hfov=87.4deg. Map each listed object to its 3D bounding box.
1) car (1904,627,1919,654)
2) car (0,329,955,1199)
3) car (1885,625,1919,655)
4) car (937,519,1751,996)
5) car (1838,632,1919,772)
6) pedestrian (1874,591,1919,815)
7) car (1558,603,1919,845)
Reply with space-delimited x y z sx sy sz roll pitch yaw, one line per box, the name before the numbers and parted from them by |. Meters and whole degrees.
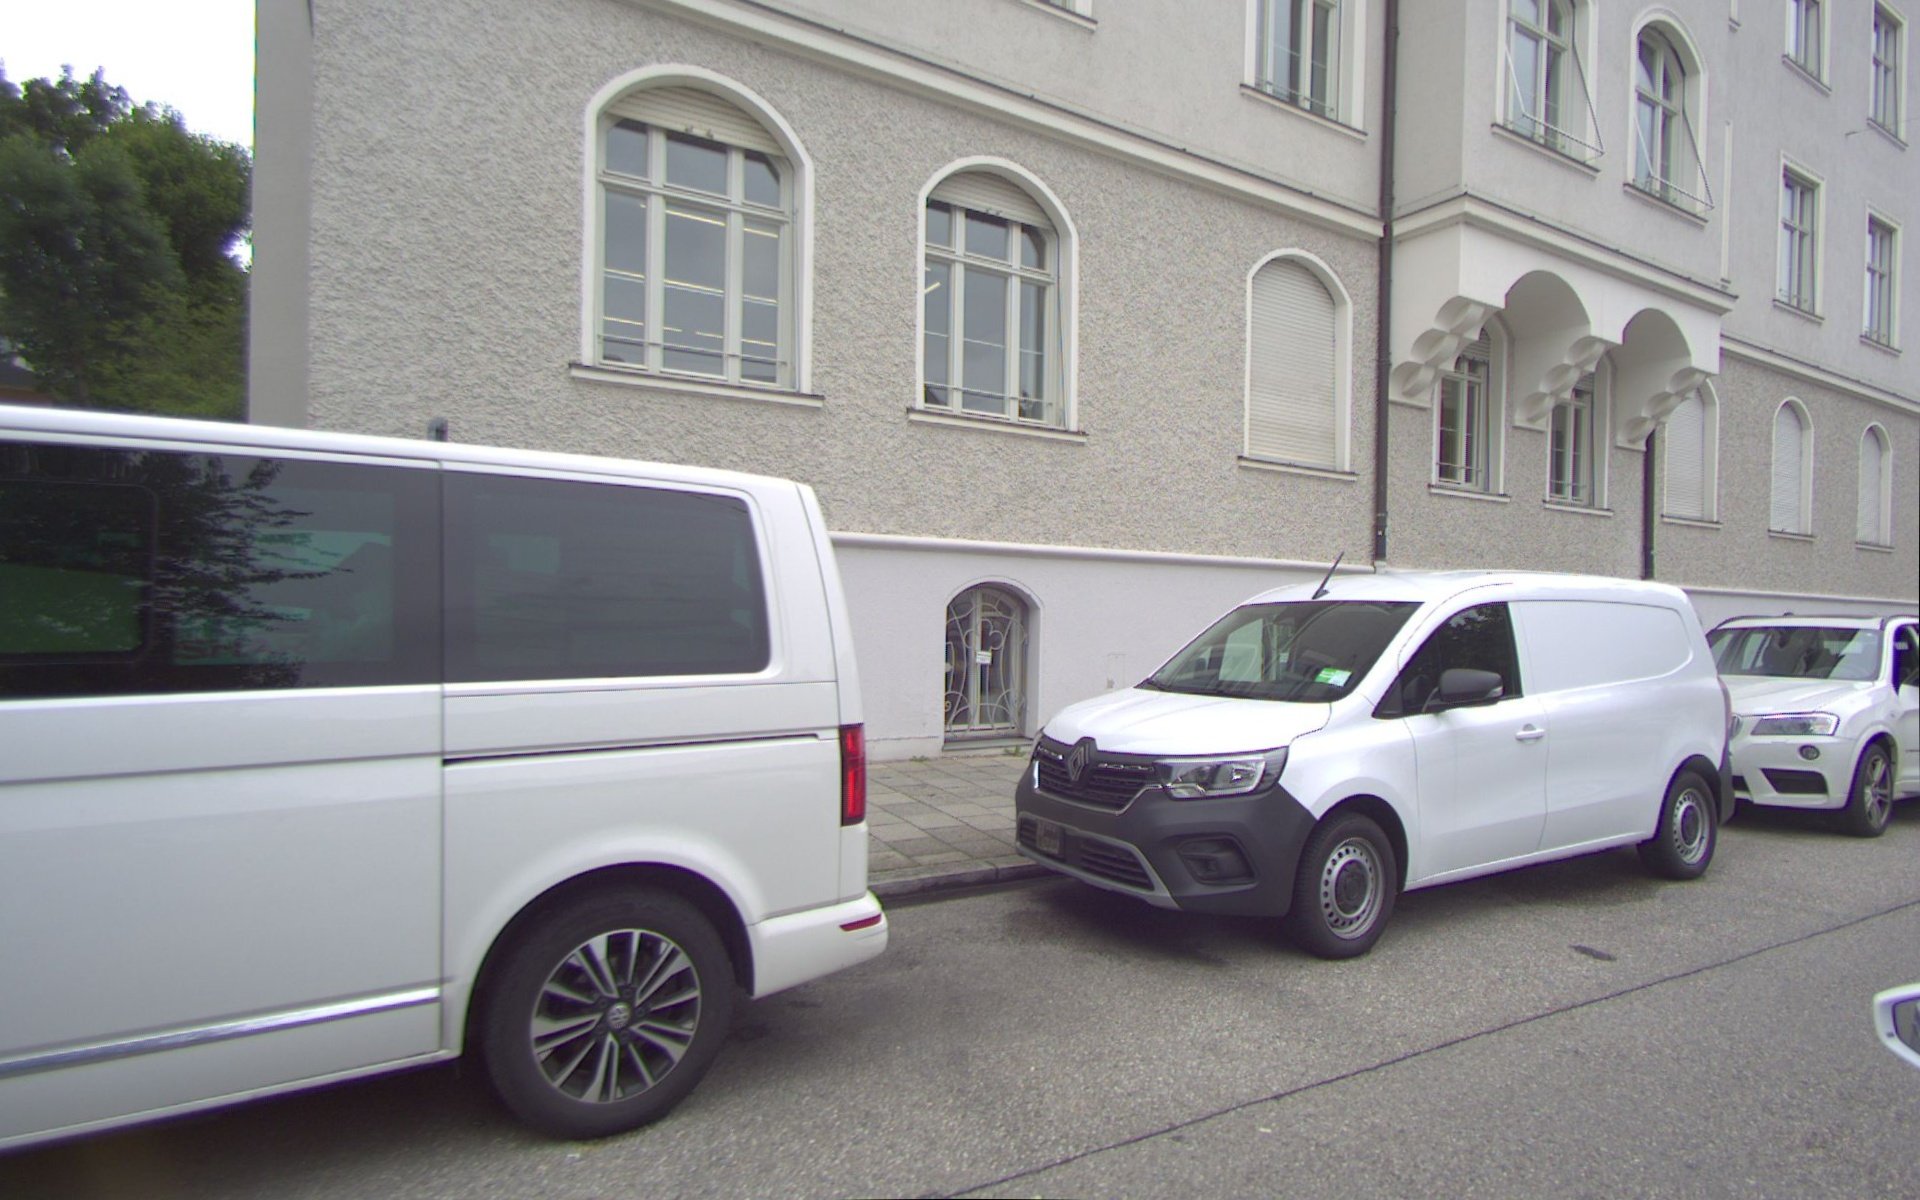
car | 61.568 2.583 63.305 4.360 1.602 1.964 2 1 -33
car | -2.591 0.419 2.819 4.900 1.964 1.847 2 -1 -31
car | 57.605 2.409 60.537 4.670 1.637 1.961 2 1 -37
car | 2.457 0.669 5.860 4.979 1.812 1.738 2 -1 -31
car | 11.423 1.106 11.302 3.630 1.433 1.679 2 -1 -38
pedestrian | 8.205 0.832 8.150 0.947 1.779 0.875 2 1 30
car | 7.248 0.900 8.665 4.446 1.623 1.737 2 -1 -32
